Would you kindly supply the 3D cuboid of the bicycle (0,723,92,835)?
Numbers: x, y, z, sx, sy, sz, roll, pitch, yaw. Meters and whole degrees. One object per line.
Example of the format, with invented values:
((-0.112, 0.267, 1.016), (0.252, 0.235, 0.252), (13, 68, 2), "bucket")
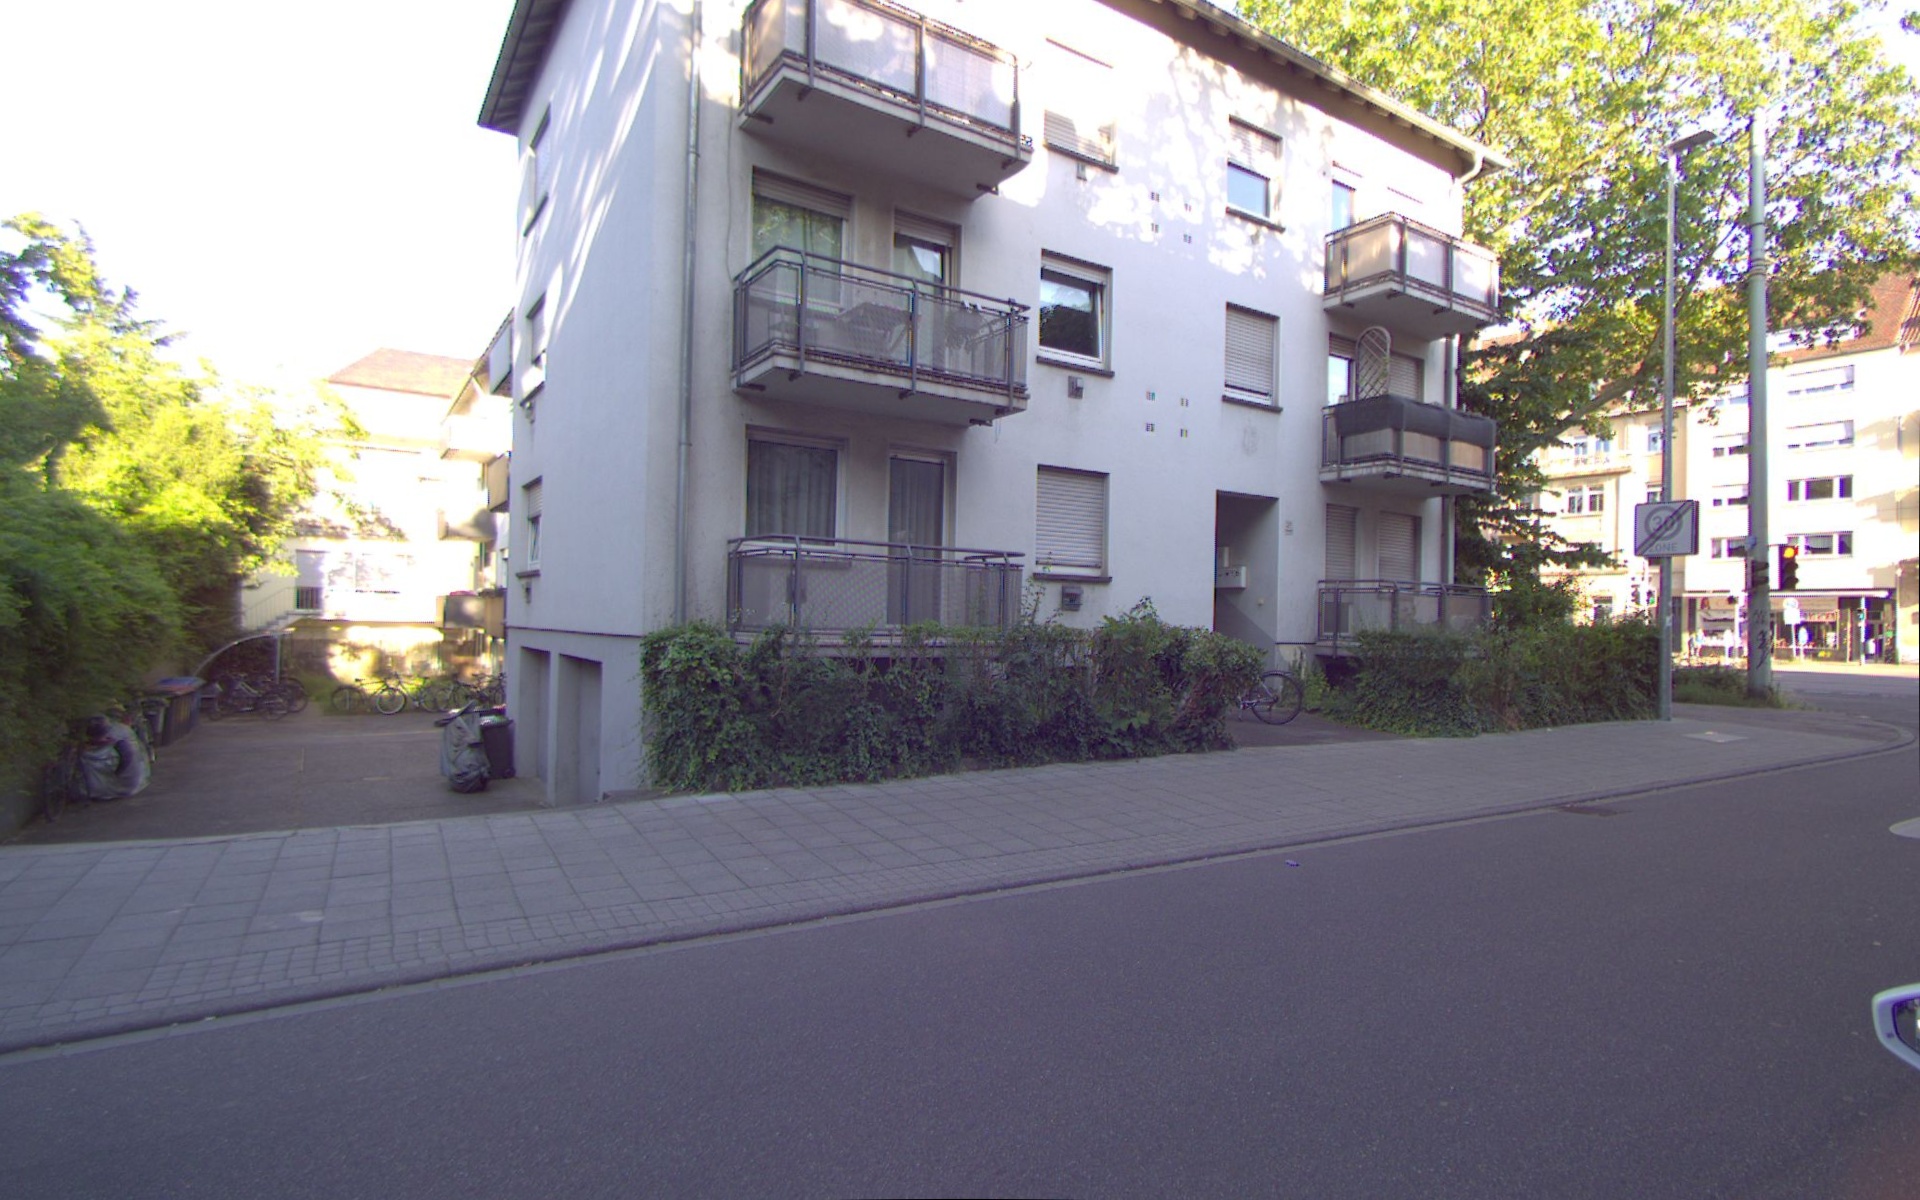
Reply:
((-10.996, 2.098, 12.070), (0.509, 1.033, 1.922), (3, -1, -32), "bicycle")

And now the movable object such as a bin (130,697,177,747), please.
((-14.945, 2.249, 18.627), (0.570, 0.891, 0.491), (2, -4, -30), "movable object such as a bin")

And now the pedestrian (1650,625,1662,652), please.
((40.547, 2.250, 58.517), (0.558, 1.531, 0.499), (0, -1, 41), "pedestrian")

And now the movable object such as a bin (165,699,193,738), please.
((-16.016, 2.434, 20.601), (0.371, 0.768, 0.361), (2, -4, -30), "movable object such as a bin")

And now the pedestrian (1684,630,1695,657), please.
((41.697, 2.501, 57.420), (0.467, 1.531, 0.429), (0, -1, 41), "pedestrian")

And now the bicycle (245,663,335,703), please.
((-19.013, 2.361, 28.570), (2.045, 1.034, 0.564), (4, 0, -30), "bicycle")

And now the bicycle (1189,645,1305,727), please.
((3.889, 1.148, 13.621), (1.433, 0.988, 0.407), (3, 0, 21), "bicycle")

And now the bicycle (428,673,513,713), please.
((-13.576, 2.589, 27.859), (2.045, 1.034, 0.637), (4, 0, -30), "bicycle")

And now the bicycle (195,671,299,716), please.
((-18.022, 2.375, 25.435), (2.045, 1.034, 0.568), (4, 0, -30), "bicycle")

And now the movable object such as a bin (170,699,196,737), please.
((-16.203, 2.450, 20.951), (0.362, 0.768, 0.361), (2, -4, -30), "movable object such as a bin")

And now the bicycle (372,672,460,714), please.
((-14.711, 2.516, 27.194), (2.045, 1.034, 0.637), (4, 0, -30), "bicycle")

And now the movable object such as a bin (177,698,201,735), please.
((-16.601, 2.498, 21.634), (0.342, 0.768, 0.361), (2, -4, -30), "movable object such as a bin")

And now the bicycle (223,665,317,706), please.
((-18.989, 2.357, 27.698), (2.045, 1.034, 0.611), (4, 0, -30), "bicycle")

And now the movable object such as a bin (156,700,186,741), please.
((-15.624, 2.389, 19.900), (0.393, 0.784, 0.361), (2, -4, -30), "movable object such as a bin")

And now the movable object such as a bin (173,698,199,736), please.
((-16.397, 2.470, 21.291), (0.362, 0.768, 0.361), (2, -4, -30), "movable object such as a bin")

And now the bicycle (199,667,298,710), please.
((-18.854, 2.356, 26.661), (2.045, 1.034, 0.611), (4, 0, -30), "bicycle")

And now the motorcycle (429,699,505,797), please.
((-7.390, 2.177, 15.031), (0.751, 1.268, 1.577), (1, -2, -36), "motorcycle")

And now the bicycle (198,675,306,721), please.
((-17.270, 2.393, 24.556), (2.045, 1.034, 0.637), (4, 0, -30), "bicycle")

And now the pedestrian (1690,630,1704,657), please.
((42.464, 2.506, 57.903), (0.531, 1.531, 0.505), (1, -1, -34), "pedestrian")

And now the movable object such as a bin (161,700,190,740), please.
((-15.818, 2.410, 20.259), (0.377, 0.784, 0.361), (2, -4, -30), "movable object such as a bin")

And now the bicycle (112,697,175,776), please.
((-13.215, 2.176, 16.299), (0.509, 1.033, 1.922), (3, -1, -32), "bicycle")

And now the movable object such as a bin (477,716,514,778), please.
((-7.495, 2.357, 16.189), (0.428, 0.899, 0.720), (1, -2, -34), "movable object such as a bin")

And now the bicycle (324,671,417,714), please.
((-15.618, 2.456, 26.660), (2.045, 1.034, 0.637), (4, 0, -30), "bicycle")
